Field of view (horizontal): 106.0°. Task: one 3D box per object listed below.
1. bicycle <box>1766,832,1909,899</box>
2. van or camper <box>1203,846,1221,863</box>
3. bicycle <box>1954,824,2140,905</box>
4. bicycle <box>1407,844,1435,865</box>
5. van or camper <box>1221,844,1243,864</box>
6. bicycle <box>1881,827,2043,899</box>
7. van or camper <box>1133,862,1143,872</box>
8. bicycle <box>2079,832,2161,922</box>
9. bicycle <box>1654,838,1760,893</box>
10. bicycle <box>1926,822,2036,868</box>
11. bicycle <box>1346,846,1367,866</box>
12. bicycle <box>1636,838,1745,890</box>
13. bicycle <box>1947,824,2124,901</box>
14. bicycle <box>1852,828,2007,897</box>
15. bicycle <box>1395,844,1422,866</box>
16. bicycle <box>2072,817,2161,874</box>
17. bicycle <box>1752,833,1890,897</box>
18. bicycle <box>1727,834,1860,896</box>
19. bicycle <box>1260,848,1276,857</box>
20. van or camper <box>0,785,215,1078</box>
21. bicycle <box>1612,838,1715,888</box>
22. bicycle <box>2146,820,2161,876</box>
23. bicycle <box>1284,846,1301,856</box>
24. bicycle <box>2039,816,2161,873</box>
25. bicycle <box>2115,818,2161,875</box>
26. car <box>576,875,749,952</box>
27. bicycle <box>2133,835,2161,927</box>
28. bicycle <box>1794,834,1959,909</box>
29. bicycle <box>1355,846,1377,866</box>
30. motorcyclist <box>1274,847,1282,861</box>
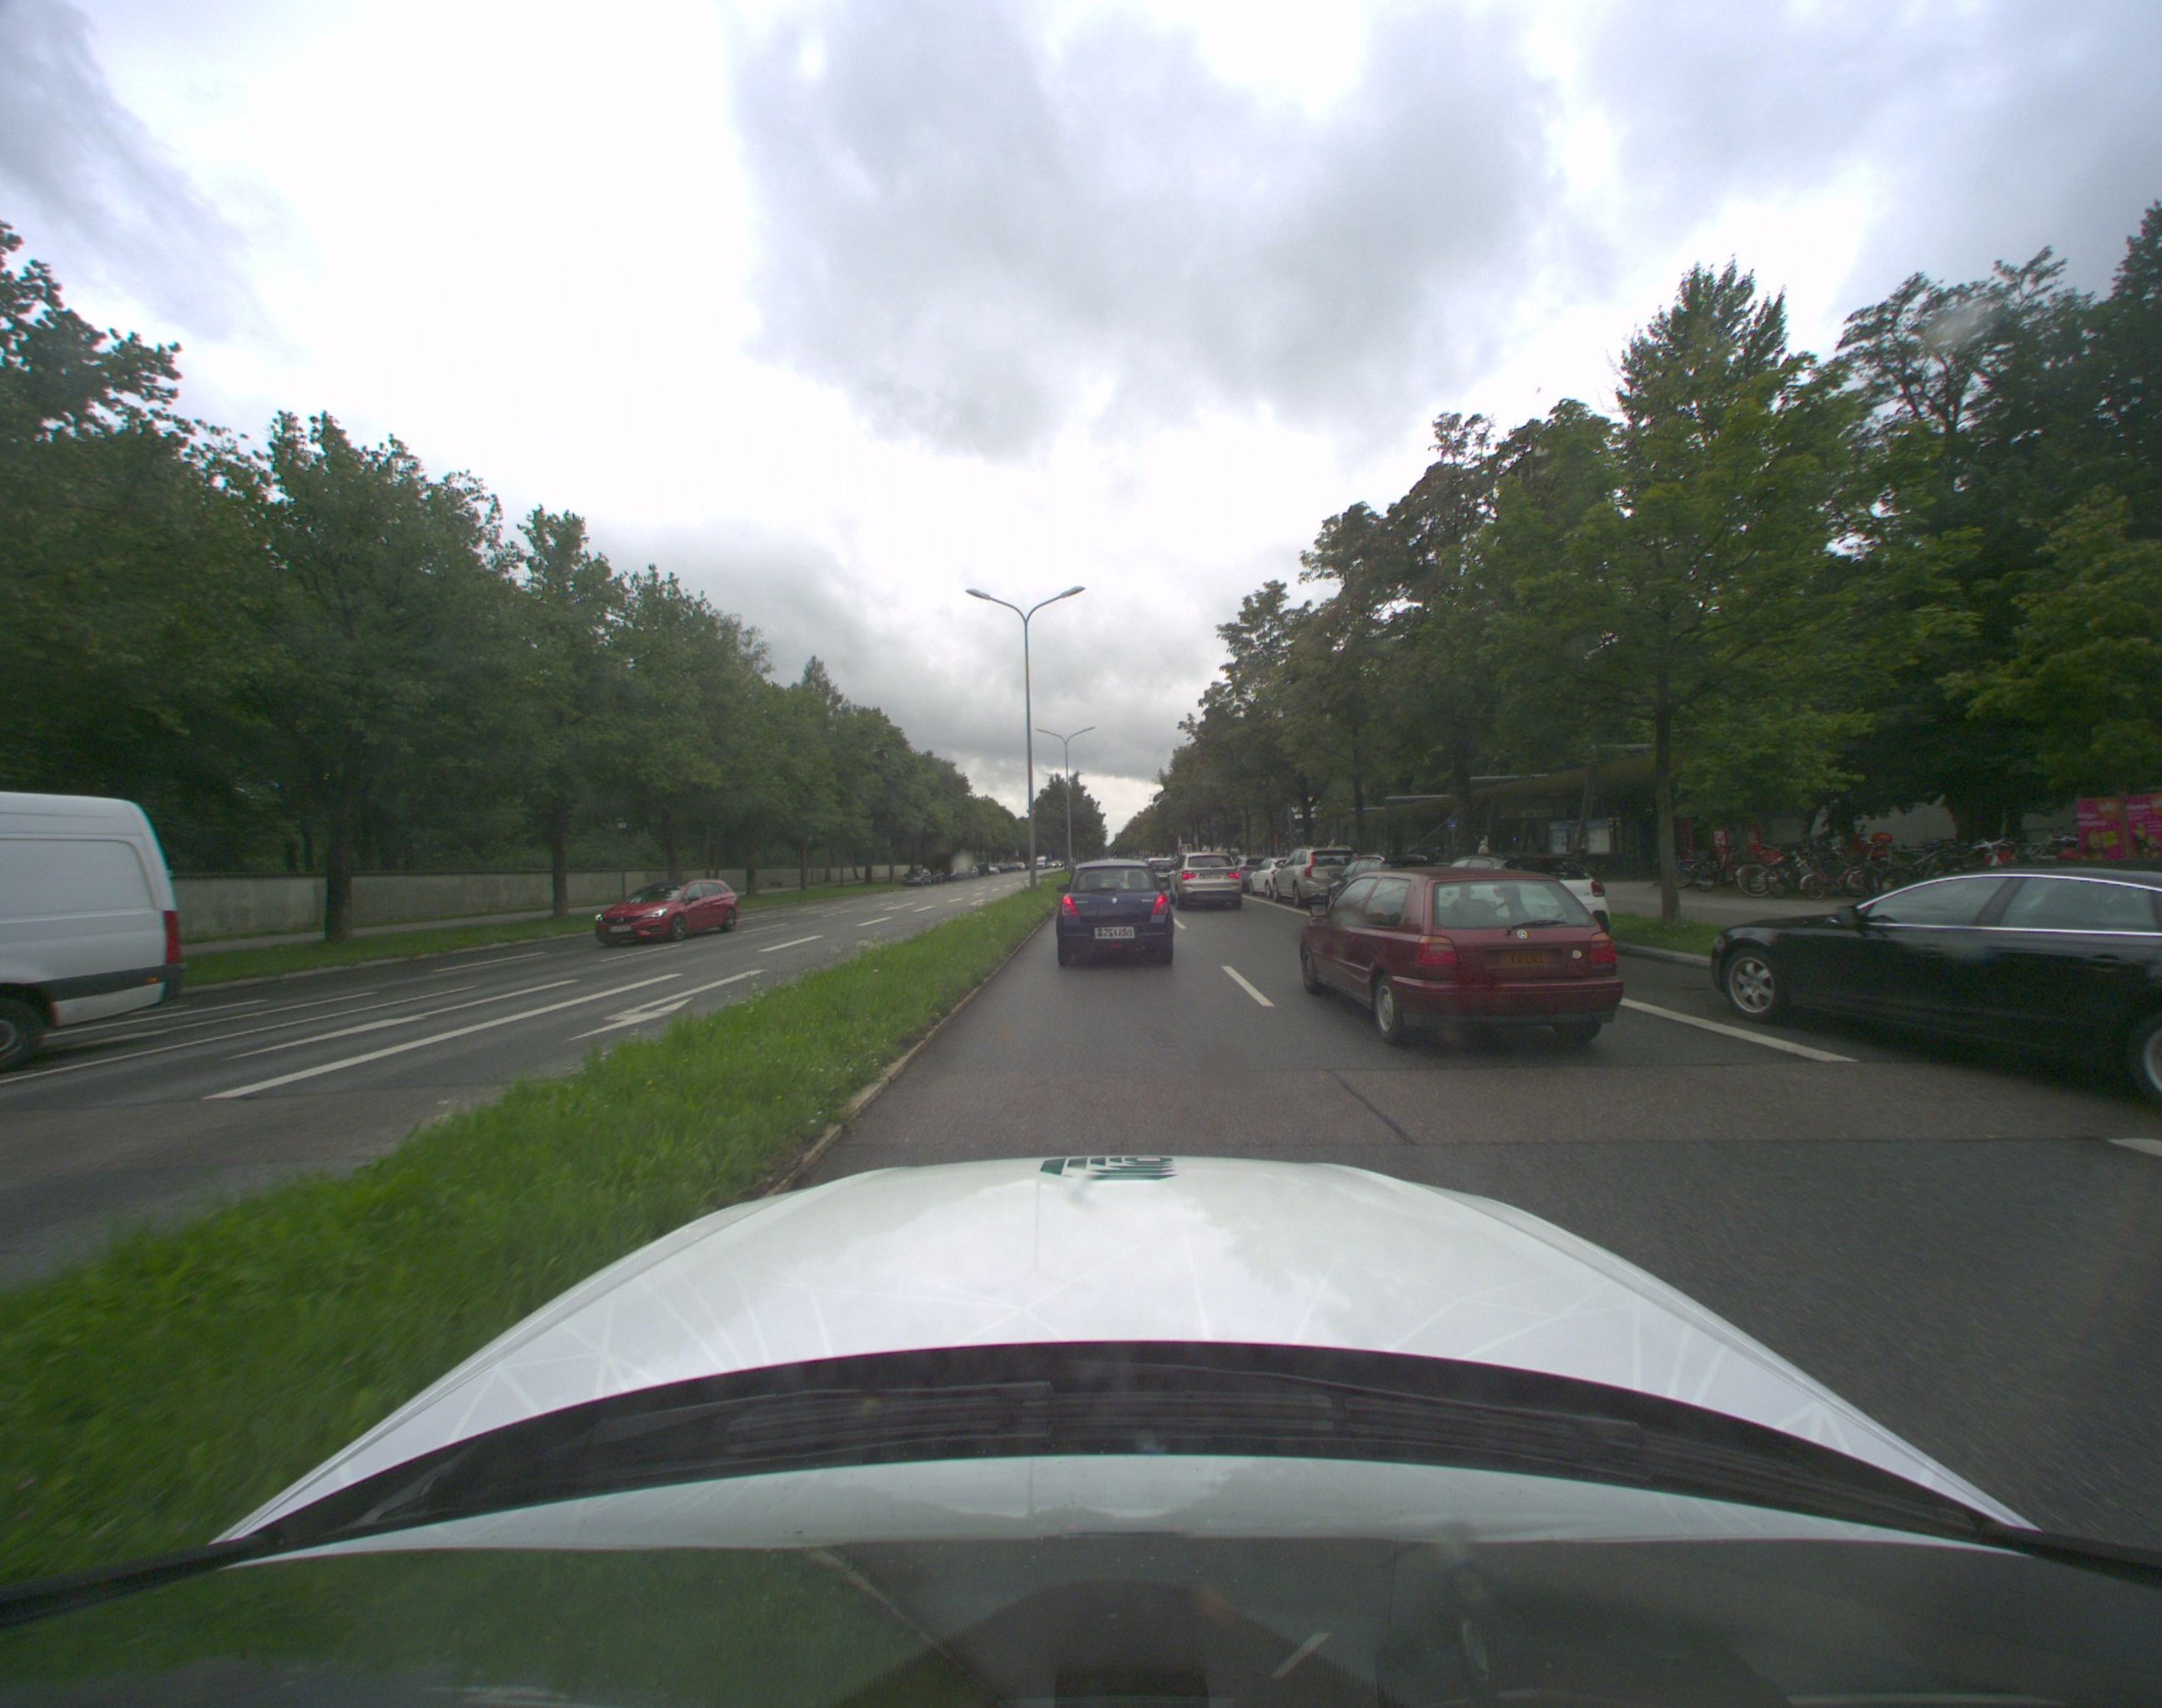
[{"bbox_3d":[15.410,0.236,16.611,2.330,1.157,0.529,-4,0,1],"label":"bicycle"},{"bbox_3d":[20.371,0.117,126.778,2.016,2.558,5.959,-2,0,2],"label":"van or camper"},{"bbox_3d":[16.196,0.173,13.682,2.330,1.157,0.585,-4,0,1],"label":"bicycle"},{"bbox_3d":[20.917,0.033,50.144,0.642,1.280,2.551,-2,0,2],"label":"bicycle"},{"bbox_3d":[20.407,0.050,110.209,1.986,2.558,5.959,-2,0,2],"label":"van or camper"},{"bbox_3d":[16.631,0.159,15.400,2.330,1.157,0.585,-4,0,1],"label":"bicycle"},{"bbox_3d":[12.007,2.632,170.414,1.937,1.975,4.309,-2,0,3],"label":"van or camper"},{"bbox_3d":[14.923,0.277,11.058,1.796,1.142,0.568,-4,-1,6],"label":"bicycle"},{"bbox_3d":[15.517,0.272,20.207,2.336,1.157,0.528,-4,0,-7],"label":"bicycle"},{"bbox_3d":[24.942,-0.244,22.647,0.525,1.157,2.349,-4,0,5],"label":"bicycle"},{"bbox_3d":[18.764,0.148,55.494,0.642,1.280,2.551,-2,0,2],"label":"bicycle"},{"bbox_3d":[15.783,0.248,21.116,2.330,1.157,0.529,-4,0,1],"label":"bicycle"},{"bbox_3d":[16.753,0.148,14.322,2.330,1.157,0.585,-4,0,1],"label":"bicycle"},{"bbox_3d":[16.646,0.170,16.010,2.330,1.157,0.585,-4,0,1],"label":"bicycle"},{"bbox_3d":[20.154,0.073,50.149,0.642,1.280,2.551,-2,0,2],"label":"bicycle"},{"bbox_3d":[24.184,-0.218,18.602,2.330,1.157,0.529,-4,0,1],"label":"bicycle"},{"bbox_3d":[15.569,0.230,17.159,2.330,1.157,0.529,-4,0,1],"label":"bicycle"},{"bbox_3d":[15.470,0.240,17.711,2.330,1.157,0.529,-4,0,1],"label":"bicycle"},{"bbox_3d":[33.513,-0.309,146.014,2.605,1.508,0.797,-2,0,-5],"label":"bicycle"},{"bbox_3d":[-10.945,0.768,5.608,2.169,2.646,6.955,-4,0,2],"label":"van or camper"},{"bbox_3d":[15.824,0.248,22.138,2.330,1.157,0.529,-4,0,1],"label":"bicycle"},{"bbox_3d":[23.818,-0.216,17.011,2.330,1.157,0.529,-4,0,1],"label":"bicycle"},{"bbox_3d":[33.337,-0.463,128.353,2.612,1.508,0.795,-2,0,-12],"label":"bicycle"},{"bbox_3d":[24.152,-0.215,19.239,2.330,1.157,0.529,-4,0,1],"label":"bicycle"},{"bbox_3d":[23.903,-0.216,17.603,2.330,1.157,0.529,-4,0,1],"label":"bicycle"},{"bbox_3d":[-10.312,1.389,20.541,1.737,1.452,4.659,-4,0,2],"label":"car"},{"bbox_3d":[14.411,0.291,10.047,1.795,1.142,0.569,-4,-1,10],"label":"bicycle"},{"bbox_3d":[14.377,0.312,14.752,2.330,1.157,0.585,-4,0,1],"label":"bicycle"},{"bbox_3d":[19.438,0.137,55.503,0.642,1.280,2.551,-2,0,2],"label":"bicycle"},{"bbox_3d":[25.426,-0.028,104.999,0.688,1.737,0.954,-7,-1,2],"label":"motorcyclist"}]
